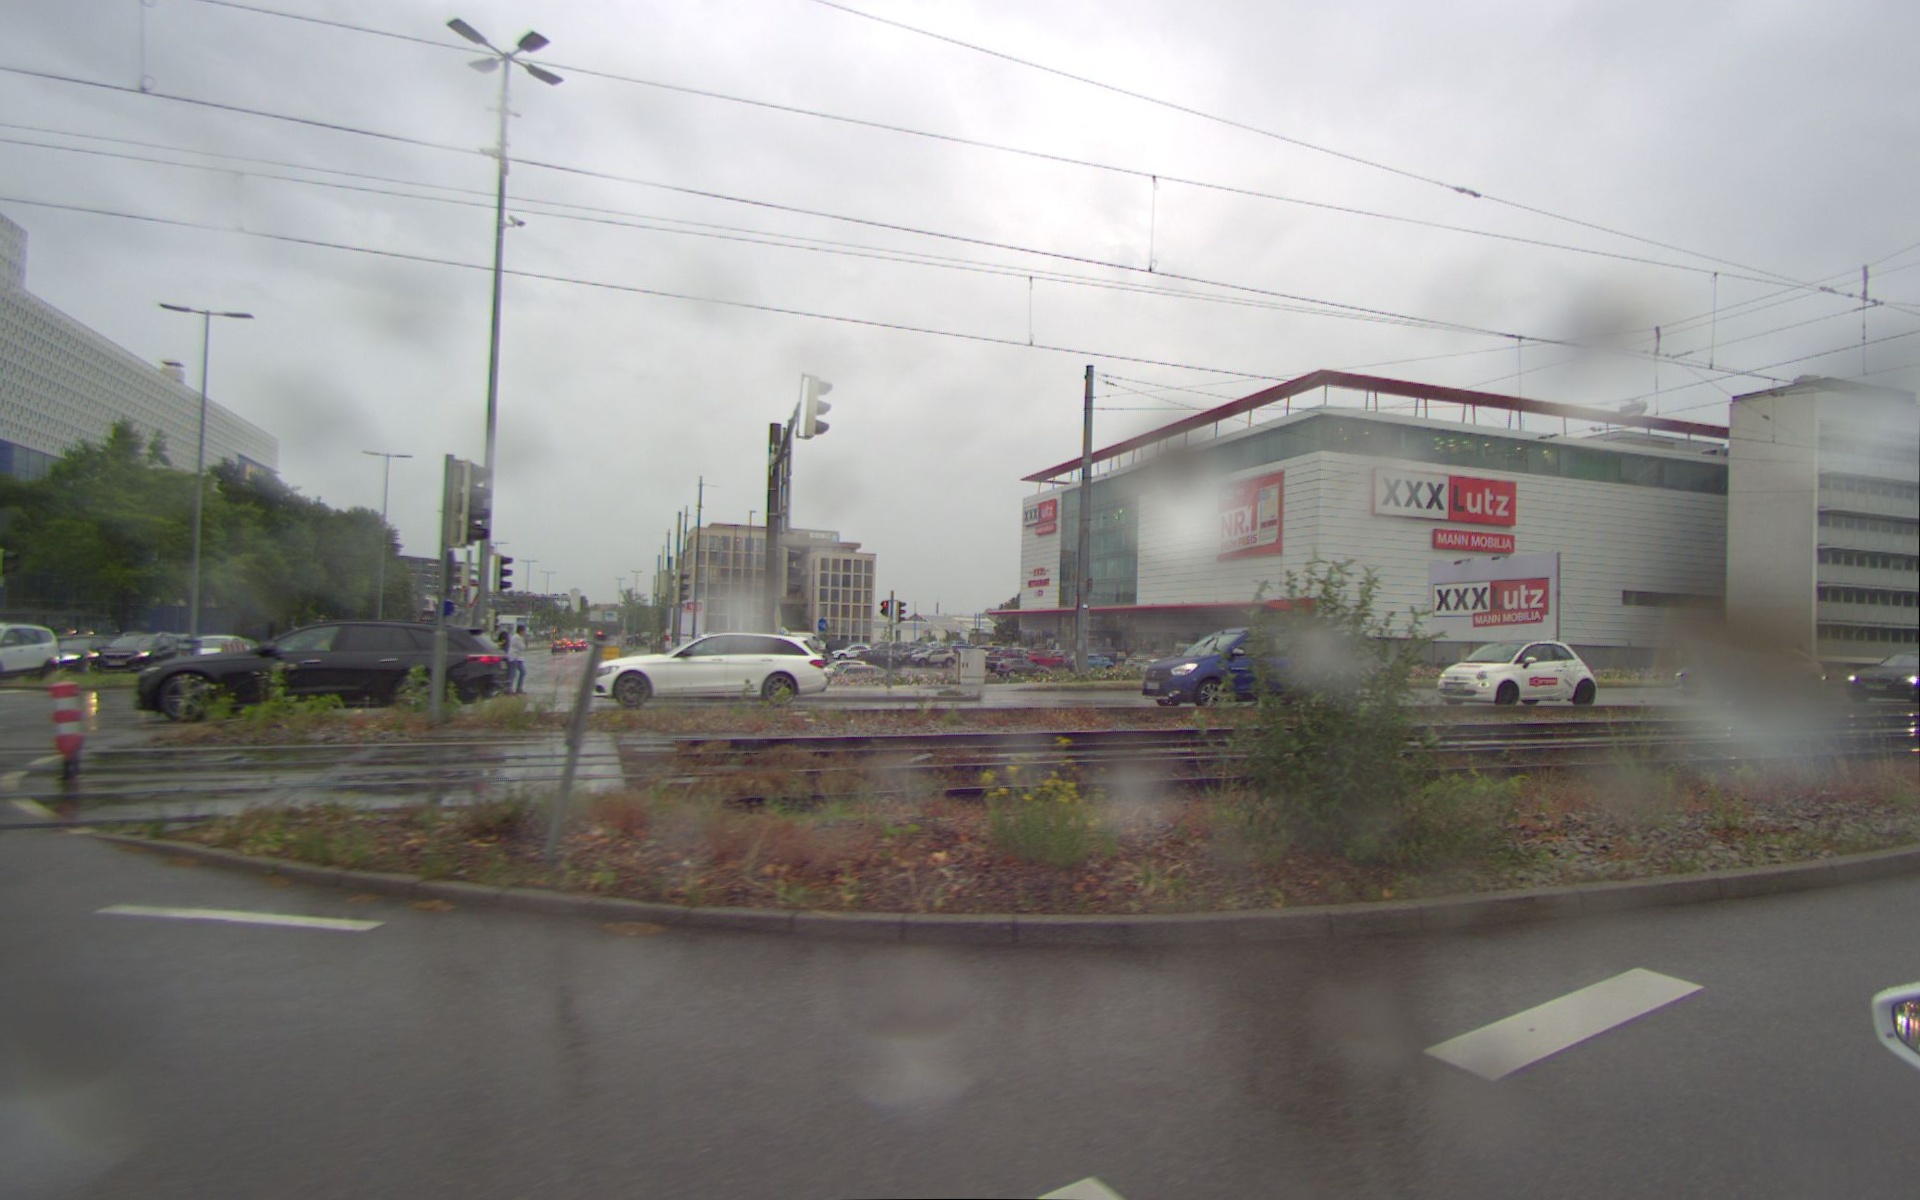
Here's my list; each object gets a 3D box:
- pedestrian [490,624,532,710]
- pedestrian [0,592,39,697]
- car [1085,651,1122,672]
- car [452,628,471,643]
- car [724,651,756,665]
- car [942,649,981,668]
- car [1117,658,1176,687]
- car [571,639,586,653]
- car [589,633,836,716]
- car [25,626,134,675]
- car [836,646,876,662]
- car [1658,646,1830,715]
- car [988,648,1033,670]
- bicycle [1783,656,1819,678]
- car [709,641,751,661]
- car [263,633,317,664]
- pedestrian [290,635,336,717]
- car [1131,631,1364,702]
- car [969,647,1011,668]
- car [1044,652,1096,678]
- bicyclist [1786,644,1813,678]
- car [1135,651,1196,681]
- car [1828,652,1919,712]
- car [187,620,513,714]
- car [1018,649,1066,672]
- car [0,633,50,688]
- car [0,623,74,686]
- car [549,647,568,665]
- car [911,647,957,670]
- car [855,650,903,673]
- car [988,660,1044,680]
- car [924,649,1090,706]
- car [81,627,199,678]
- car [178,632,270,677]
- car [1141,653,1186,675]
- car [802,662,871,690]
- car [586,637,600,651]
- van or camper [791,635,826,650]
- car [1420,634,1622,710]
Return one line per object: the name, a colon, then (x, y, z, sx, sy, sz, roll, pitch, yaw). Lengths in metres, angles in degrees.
pedestrian: (-10.985, 1.622, 24.565, 0.847, 2.040, 0.691, 2, 0, -28)
pedestrian: (-21.878, 0.982, 22.810, 0.971, 2.274, 0.920, 4, 1, -7)
car: (15.923, 6.840, 111.415, 3.919, 2.040, 2.001, 2, 0, 6)
car: (-73.522, 5.252, 148.155, 1.969, 2.040, 3.983, 2, 0, -19)
car: (-25.746, 6.747, 117.357, 3.510, 1.425, 1.780, 2, 0, -18)
car: (0.174, 6.771, 115.826, 3.944, 2.040, 1.988, 2, 1, -24)
car: (14.329, 5.562, 77.092, 3.944, 2.040, 1.988, 2, 1, -24)
car: (-58.882, 7.102, 155.254, 1.969, 2.040, 3.983, 2, 0, -19)
car: (-4.981, 1.441, 20.276, 4.640, 1.455, 1.810, 1, 0, -20)
car: (-34.229, 1.931, 39.184, 1.732, 1.639, 4.002, 2, 0, -18)
car: (-11.046, 5.729, 106.533, 3.947, 1.582, 1.756, 2, 0, -21)
car: (24.096, 2.472, 30.899, 4.719, 1.927, 1.990, 2, 0, -21)
car: (5.009, 5.798, 99.130, 3.944, 2.040, 1.988, 2, 1, -24)
bicycle: (41.194, 3.273, 49.223, 1.533, 1.029, 0.667, 2, 1, -21)
car: (-19.514, 4.324, 85.197, 3.125, 1.544, 1.563, 2, 0, -24)
car: (-41.182, 2.949, 61.785, 1.655, 1.695, 3.998, 2, 0, -18)
pedestrian: (-16.619, 1.942, 25.817, 0.657, 2.040, 0.768, 2, 0, -7)
car: (5.833, 1.302, 20.386, 4.394, 1.266, 1.710, 1, 0, -20)
car: (3.155, 6.115, 106.793, 3.944, 2.040, 1.988, 2, 1, -24)
car: (9.399, 5.566, 85.869, 3.944, 2.040, 1.988, 2, 1, -24)
bicyclist: (41.072, 2.968, 49.167, 0.780, 1.610, 0.670, 2, 1, -21)
car: (15.279, 4.898, 74.698, 3.944, 2.040, 1.988, 2, 1, -24)
car: (26.864, 2.224, 27.946, 5.005, 1.442, 1.920, 1, 0, -20)
car: (-9.162, 0.981, 15.471, 3.984, 1.266, 1.711, 1, 0, -18)
car: (7.731, 5.718, 94.814, 3.944, 2.040, 1.988, 2, 1, -24)
car: (-31.814, 1.978, 32.664, 1.732, 1.639, 4.002, 2, 0, -18)
car: (-26.236, 1.450, 27.154, 1.791, 1.561, 4.445, 1, 0, -18)
car: (-51.745, 7.187, 129.497, 1.969, 2.040, 3.983, 2, 0, -19)
car: (-2.416, 5.467, 93.970, 3.853, 1.930, 1.812, 2, 0, -26)
car: (-7.201, 5.484, 89.339, 3.782, 1.930, 1.812, 2, 0, -26)
car: (4.060, 5.056, 72.765, 3.673, 1.281, 1.543, 2, 0, -24)
car: (1.162, 1.896, 25.185, 3.850, 1.266, 1.581, 1, 0, -16)
car: (-29.038, 1.815, 35.744, 1.791, 1.561, 4.364, 1, 0, -18)
car: (-31.042, 2.282, 42.501, 1.969, 1.625, 4.091, 2, 0, -19)
car: (20.577, 6.479, 101.543, 3.945, 2.040, 1.988, 2, 0, -24)
car: (-7.839, 4.802, 63.589, 3.944, 1.626, 1.795, 2, 1, -24)
car: (-59.388, 7.139, 162.536, 1.969, 2.040, 3.983, 2, 0, -19)
van or camper: (-23.512, 6.626, 156.047, 4.927, 2.141, 1.774, 3, 0, -27)
car: (12.740, 1.597, 22.854, 3.981, 1.556, 1.712, 1, 0, -16)
